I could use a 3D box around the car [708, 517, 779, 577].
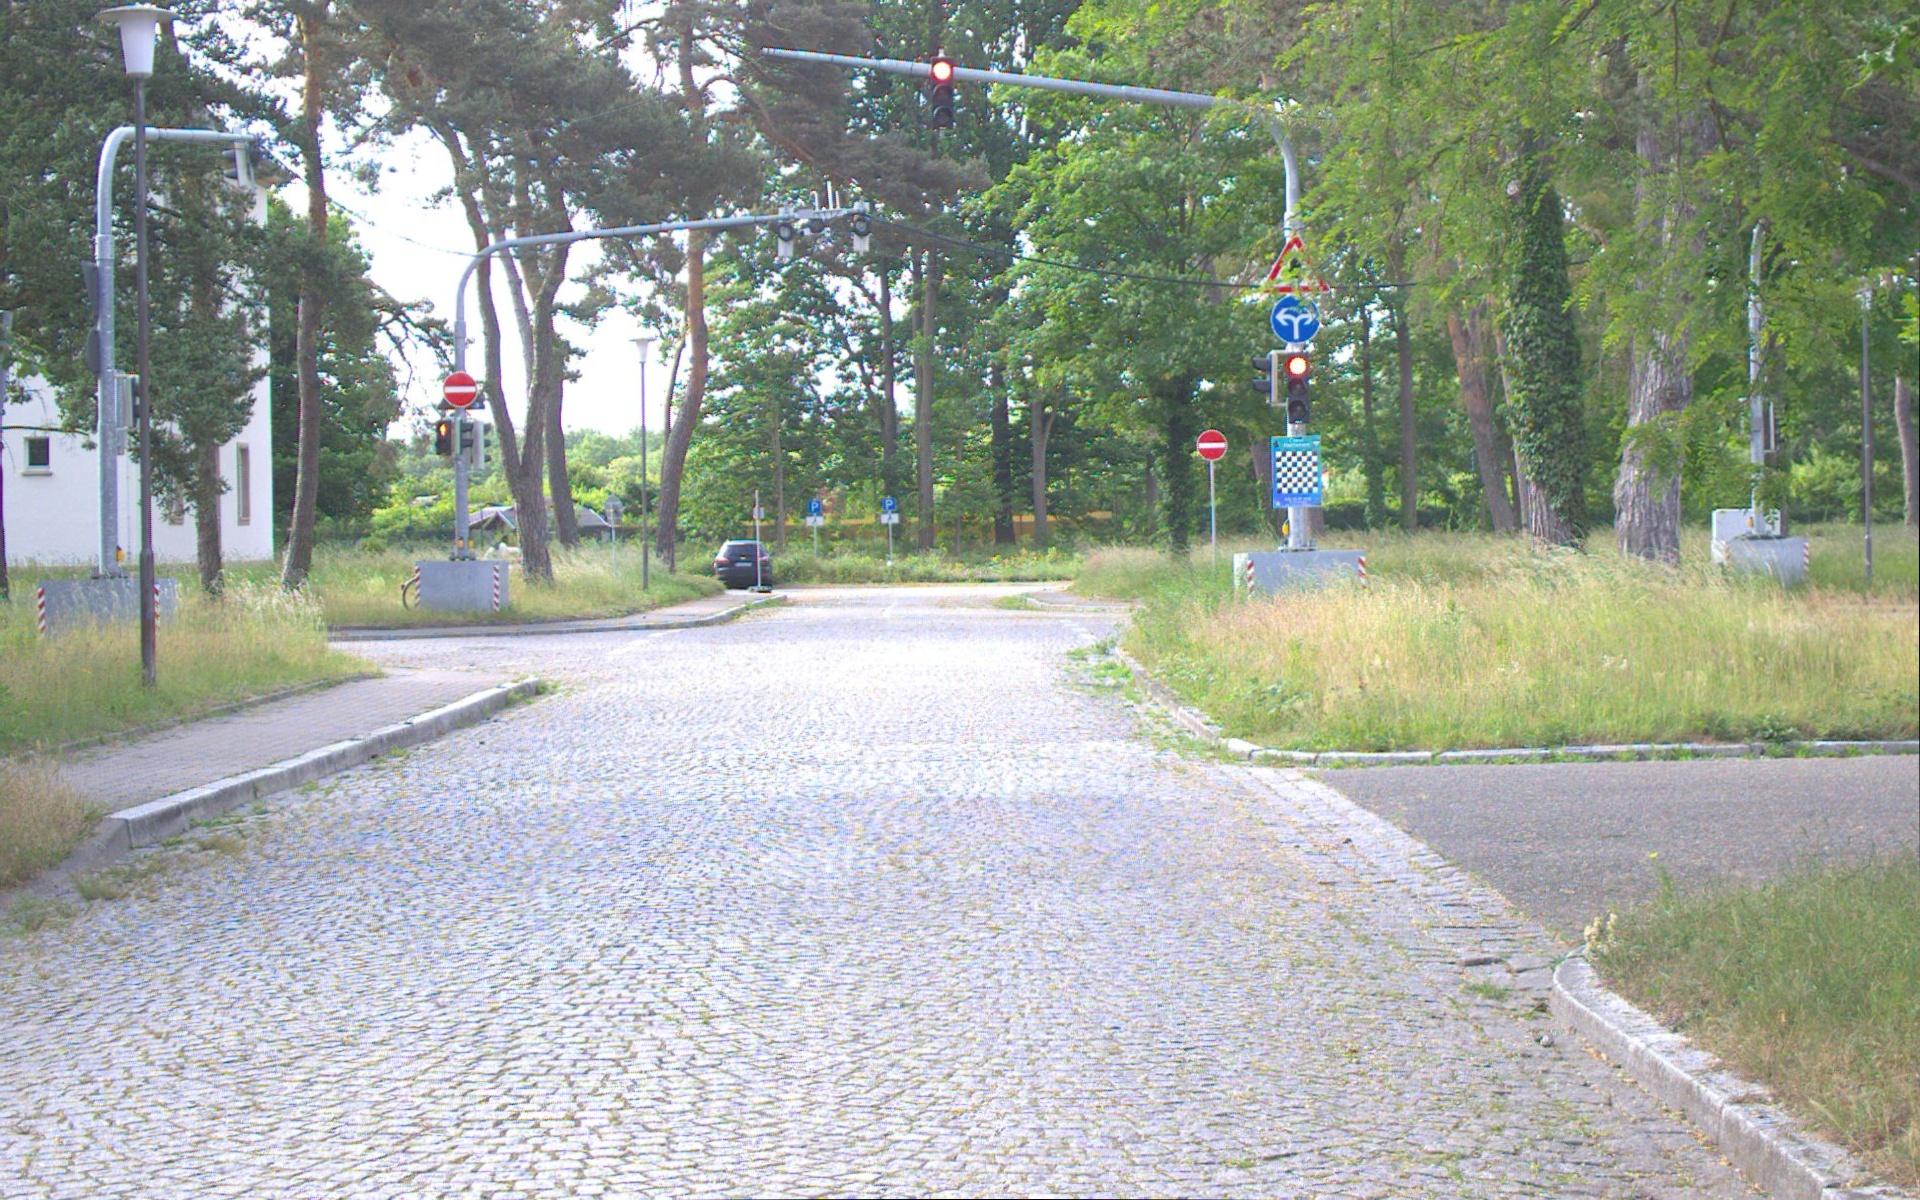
[{"bbox_3d":[-6.853,-1.690,109.304,2.056,1.840,4.000,-1,1,-1],"label":"car"}]
